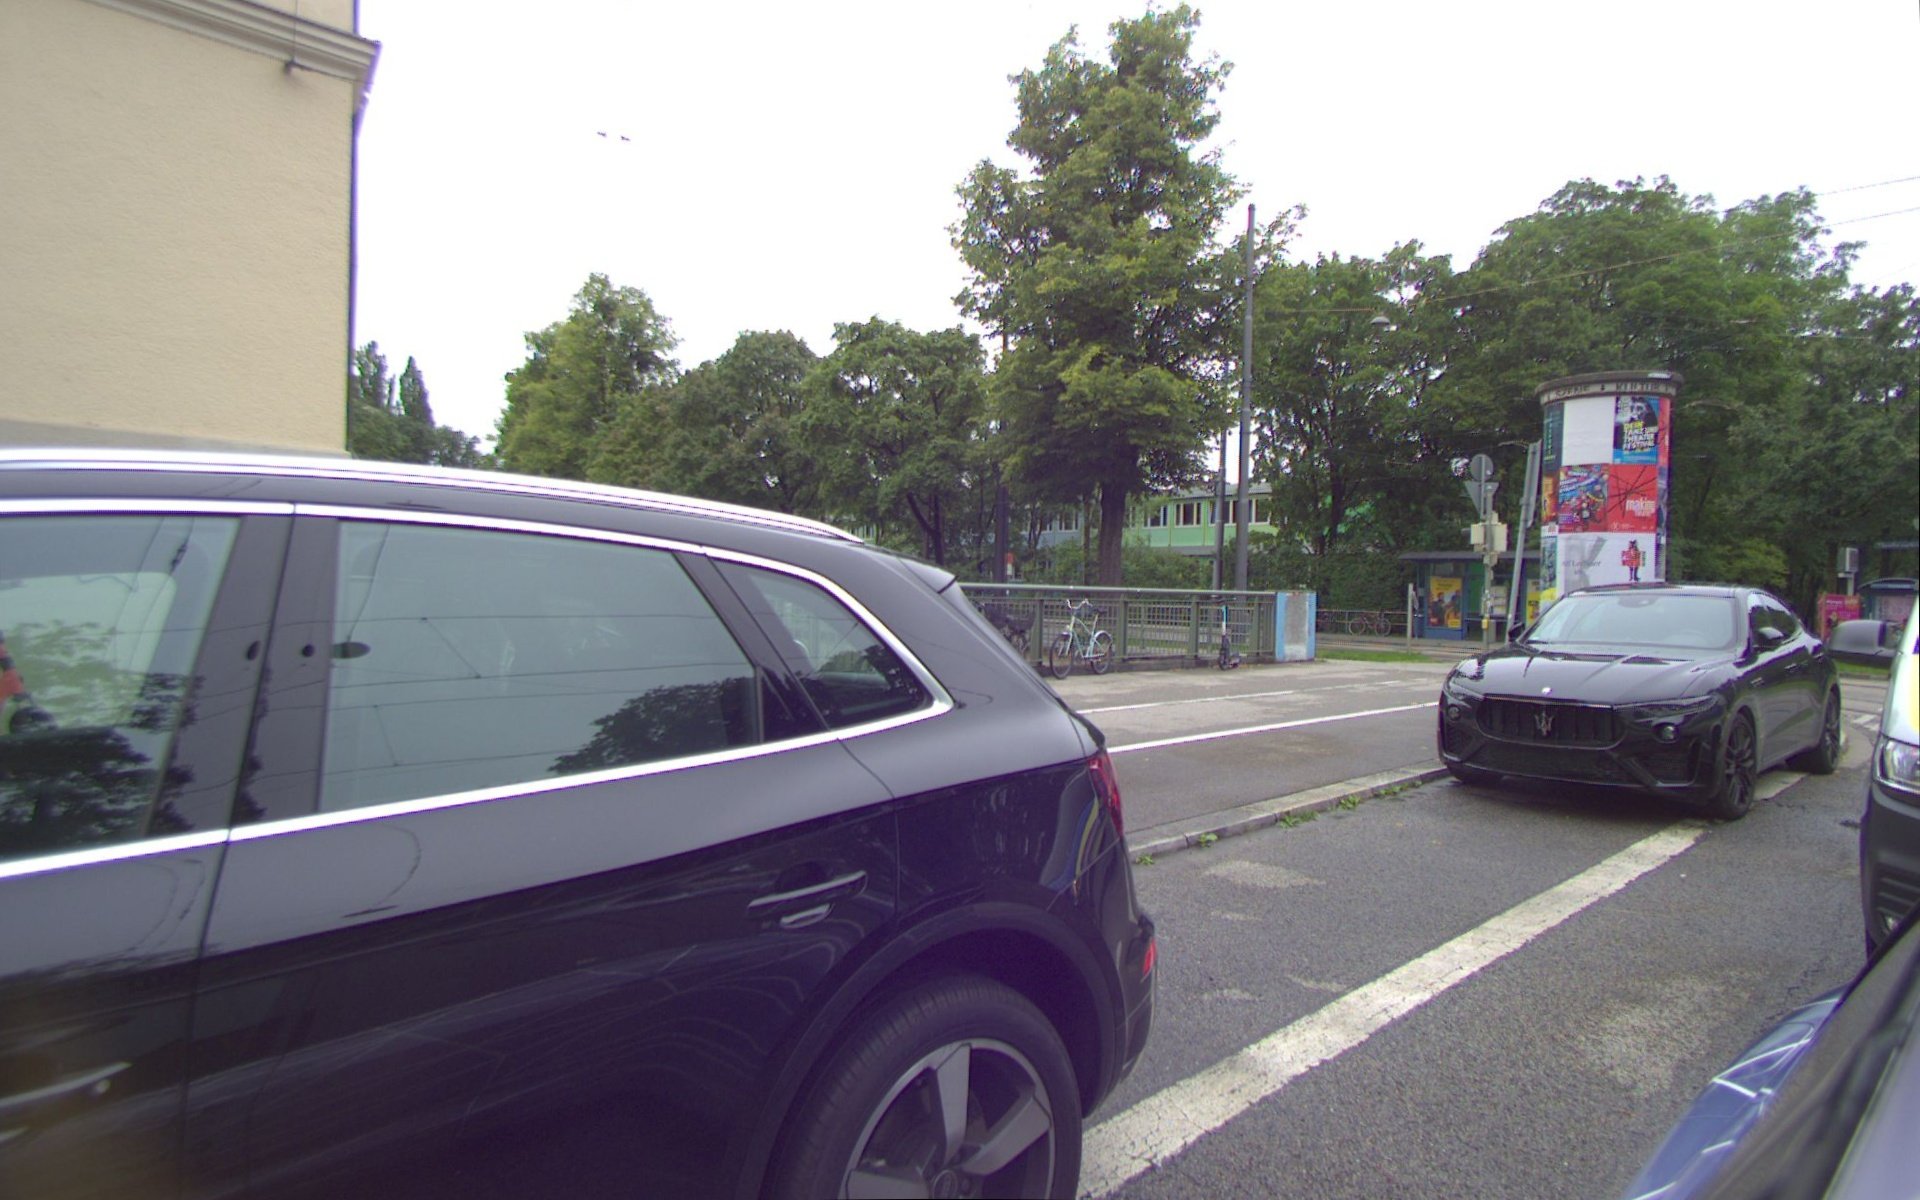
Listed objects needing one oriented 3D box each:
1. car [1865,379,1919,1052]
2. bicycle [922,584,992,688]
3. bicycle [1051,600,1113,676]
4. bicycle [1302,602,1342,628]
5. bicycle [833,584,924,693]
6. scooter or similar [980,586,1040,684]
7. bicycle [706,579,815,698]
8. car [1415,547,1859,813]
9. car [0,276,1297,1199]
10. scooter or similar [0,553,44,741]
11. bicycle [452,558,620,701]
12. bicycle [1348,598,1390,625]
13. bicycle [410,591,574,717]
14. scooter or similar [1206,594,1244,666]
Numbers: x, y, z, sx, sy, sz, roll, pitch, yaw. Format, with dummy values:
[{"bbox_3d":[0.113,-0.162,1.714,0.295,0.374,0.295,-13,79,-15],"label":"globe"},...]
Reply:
[{"bbox_3d":[5.585,0.379,4.403,5.612,2.078,1.901,0,1,-43],"label":"car"},{"bbox_3d":[-0.020,0.453,13.361,0.280,1.298,1.395,-1,-1,29],"label":"bicycle"},{"bbox_3d":[1.852,0.548,15.241,0.263,1.096,1.524,-1,-1,34],"label":"bicycle"},{"bbox_3d":[14.239,0.596,39.838,0.366,0.964,1.483,0,1,-38],"label":"bicycle"},{"bbox_3d":[-0.996,0.459,12.672,0.281,1.298,1.391,-1,-1,38],"label":"bicycle"},{"bbox_3d":[0.708,0.461,14.009,0.242,1.279,1.482,-1,0,27],"label":"scooter or similar"},{"bbox_3d":[-2.268,0.417,11.616,0.281,1.298,1.391,-1,-1,38],"label":"bicycle"},{"bbox_3d":[5.806,0.521,8.437,4.582,1.630,1.904,1,-1,-40],"label":"car"},{"bbox_3d":[-1.425,0.523,1.715,4.408,1.679,1.778,0,0,-40],"label":"car"},{"bbox_3d":[-7.129,0.334,7.033,1.122,1.329,0.261,0,-1,-42],"label":"scooter or similar"},{"bbox_3d":[-4.168,0.273,10.025,1.511,1.329,0.332,0,-1,-42],"label":"bicycle"},{"bbox_3d":[15.423,0.419,38.180,0.366,0.964,1.483,0,1,-38],"label":"bicycle"},{"bbox_3d":[-4.441,0.482,9.672,0.286,1.120,1.421,1,0,42],"label":"bicycle"},{"bbox_3d":[4.612,0.506,17.605,0.224,1.227,1.006,-1,-1,40],"label":"scooter or similar"}]
